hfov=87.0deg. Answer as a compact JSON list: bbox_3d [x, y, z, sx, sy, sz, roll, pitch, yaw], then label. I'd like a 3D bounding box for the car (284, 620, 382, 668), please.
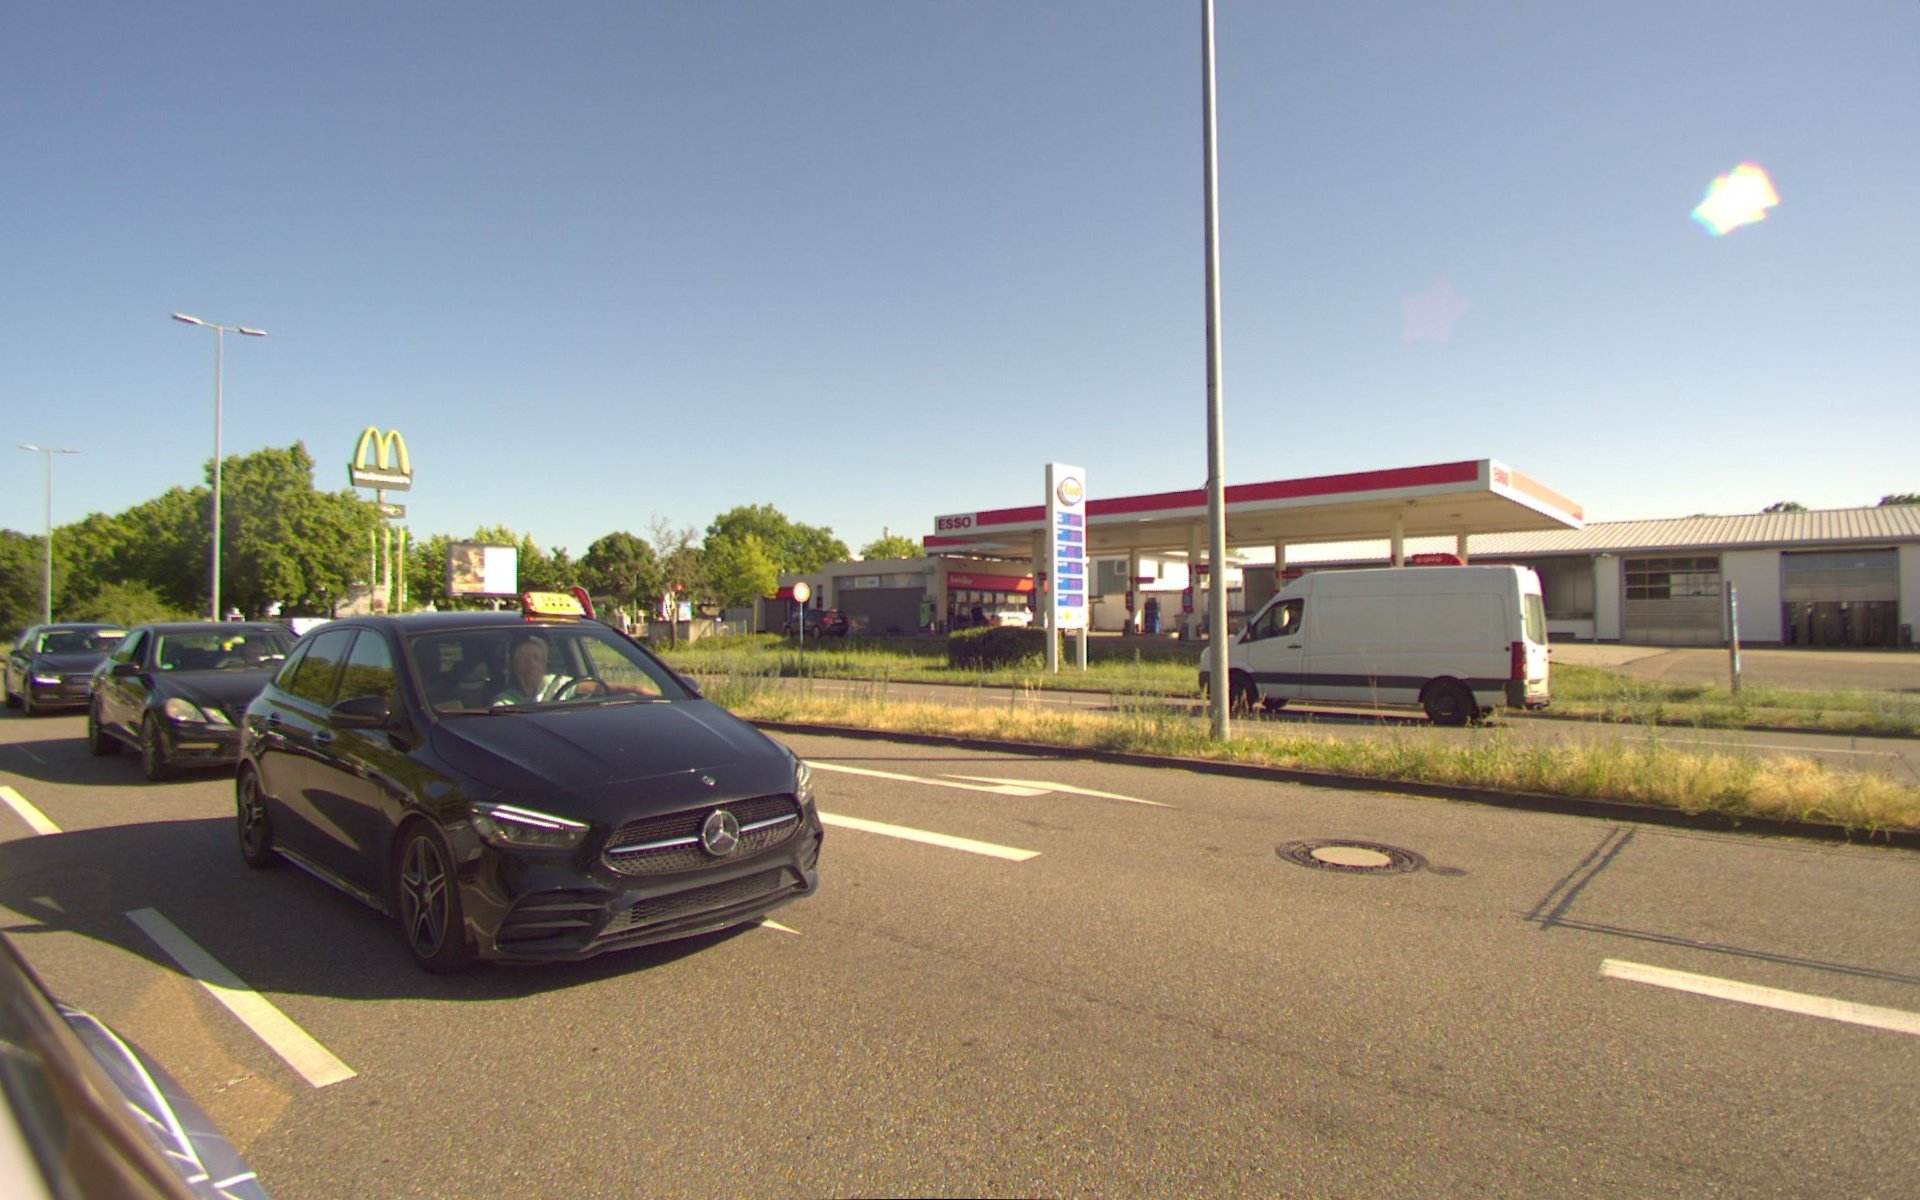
[{"bbox_3d":[-23.365,1.609,37.662,4.433,1.703,1.860,-2,-2,41],"label":"car"}]

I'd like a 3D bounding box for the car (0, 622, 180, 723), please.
[{"bbox_3d":[-14.986,1.141,17.266,4.401,1.492,1.838,-2,-2,41],"label":"car"}]

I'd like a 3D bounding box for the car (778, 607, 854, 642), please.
[{"bbox_3d":[-7.868,1.322,55.069,4.117,1.783,1.972,-2,-1,43],"label":"car"}]

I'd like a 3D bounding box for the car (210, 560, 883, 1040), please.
[{"bbox_3d":[-2.514,0.736,5.547,4.187,1.638,1.780,-2,-2,42],"label":"car"}]

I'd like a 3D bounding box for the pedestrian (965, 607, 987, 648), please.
[{"bbox_3d":[0.801,1.372,50.211,0.840,2.029,0.694,-2,-2,41],"label":"pedestrian"}]

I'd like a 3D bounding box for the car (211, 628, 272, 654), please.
[{"bbox_3d":[-43.625,2.491,61.402,4.604,1.457,1.884,-2,-4,41],"label":"car"}]

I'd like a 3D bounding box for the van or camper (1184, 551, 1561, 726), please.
[{"bbox_3d":[7.185,0.689,18.168,5.952,2.671,1.973,-1,-4,40],"label":"van or camper"}]

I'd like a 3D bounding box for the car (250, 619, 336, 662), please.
[{"bbox_3d":[-33.065,1.986,50.107,5.018,2.029,1.975,-1,-3,37],"label":"car"}]

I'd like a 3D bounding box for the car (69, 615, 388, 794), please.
[{"bbox_3d":[-7.951,0.952,10.835,4.401,1.535,1.838,-2,-2,41],"label":"car"}]

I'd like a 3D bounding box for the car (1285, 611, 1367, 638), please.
[{"bbox_3d":[19.836,1.326,54.880,3.844,1.450,1.730,-2,-2,39],"label":"car"}]
